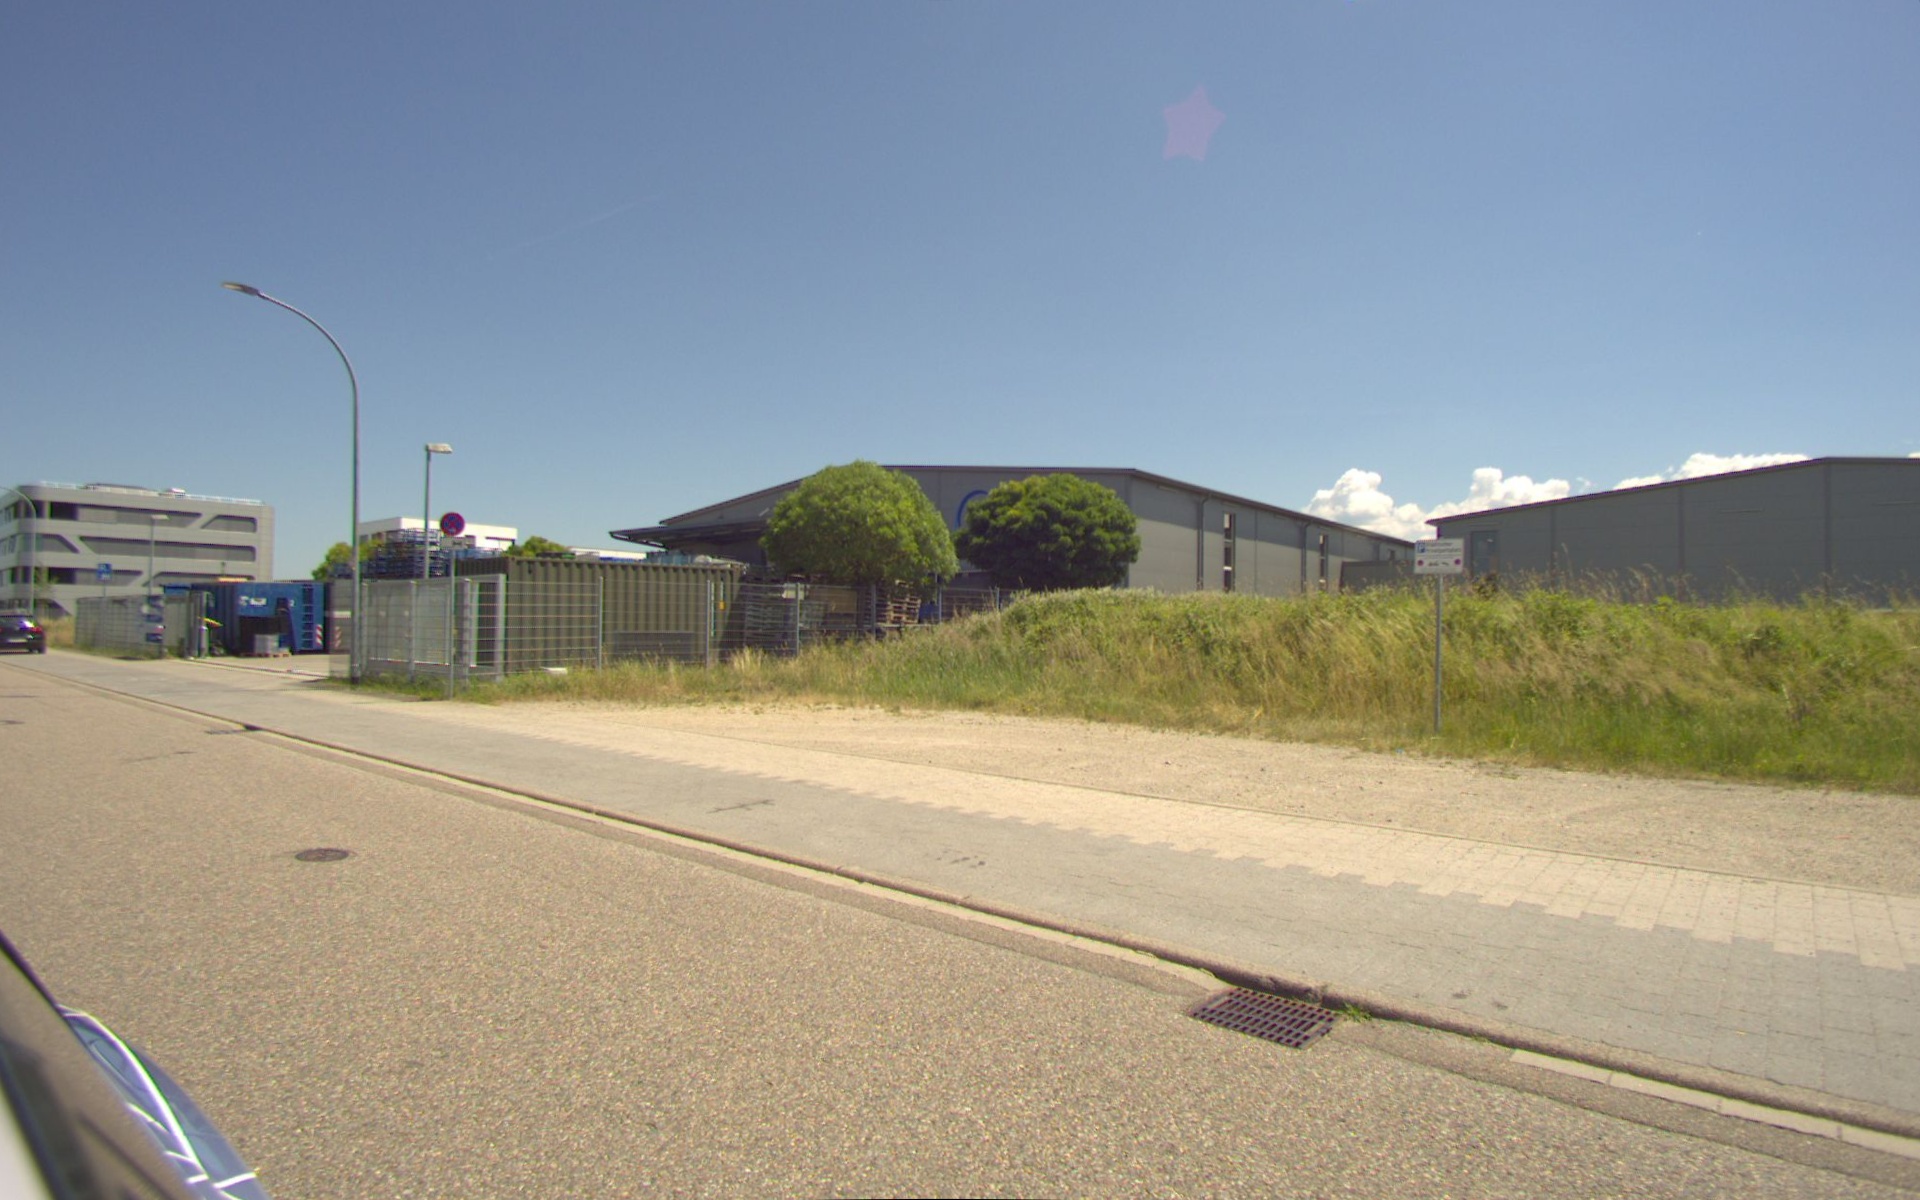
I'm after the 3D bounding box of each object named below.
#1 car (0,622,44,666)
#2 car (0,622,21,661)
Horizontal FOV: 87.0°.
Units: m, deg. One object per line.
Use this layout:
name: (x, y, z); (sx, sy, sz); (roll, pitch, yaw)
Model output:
car: (-35.082, 1.597, 37.190); (3.659, 1.501, 1.673); (-1, 0, 41)
car: (-39.576, 1.671, 41.076); (3.776, 1.541, 1.749); (-1, 0, 41)
